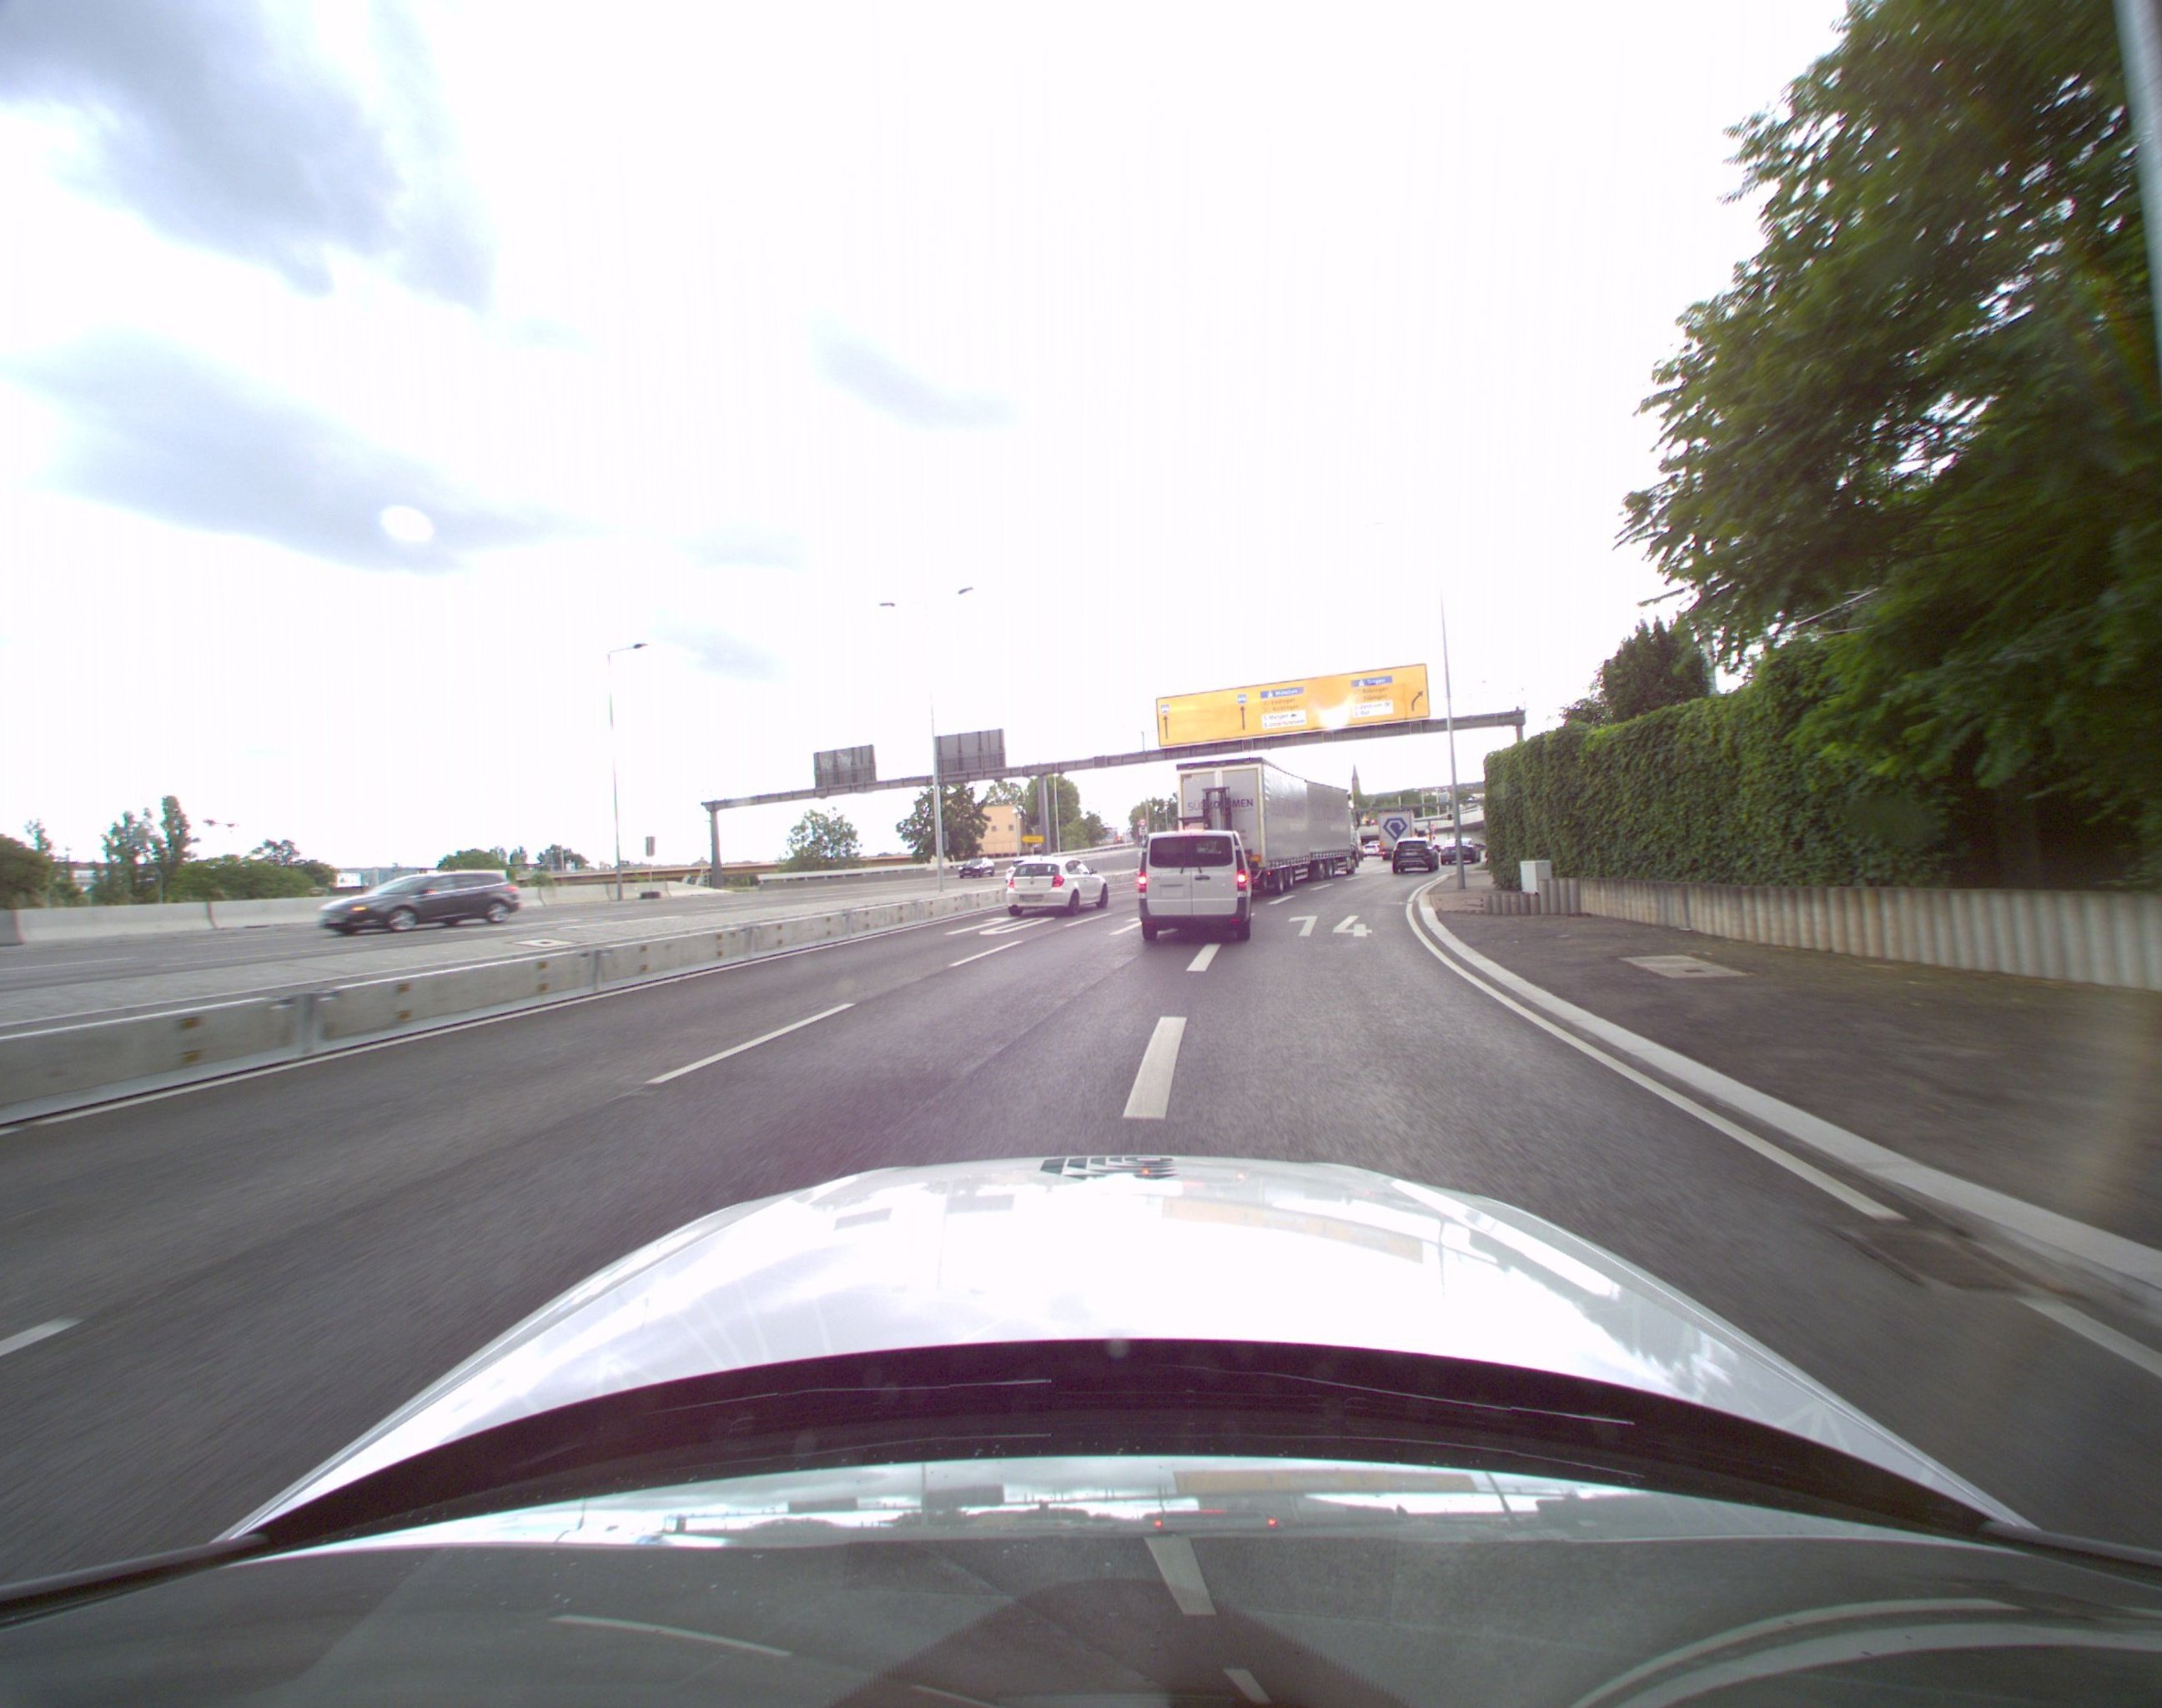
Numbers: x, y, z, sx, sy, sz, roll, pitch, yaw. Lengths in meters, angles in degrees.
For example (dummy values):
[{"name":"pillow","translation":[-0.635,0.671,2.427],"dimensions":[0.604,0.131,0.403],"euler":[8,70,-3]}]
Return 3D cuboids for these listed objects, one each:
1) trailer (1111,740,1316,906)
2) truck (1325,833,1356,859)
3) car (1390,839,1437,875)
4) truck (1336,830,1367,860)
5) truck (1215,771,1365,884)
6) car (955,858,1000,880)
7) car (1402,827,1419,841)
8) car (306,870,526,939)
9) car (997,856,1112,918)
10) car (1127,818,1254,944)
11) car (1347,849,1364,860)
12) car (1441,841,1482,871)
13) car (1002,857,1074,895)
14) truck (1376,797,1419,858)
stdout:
[{"name":"trailer","translation":[4.809,-0.795,26.229],"dimensions":[3.691,4.141,11.045],"euler":[-2,0,24]},{"name":"truck","translation":[20.253,-0.607,63.508],"dimensions":[1.976,2.031,3.854],"euler":[0,0,23]},{"name":"car","translation":[15.288,0.181,37.457],"dimensions":[1.876,1.520,4.021],"euler":[-2,-1,22]},{"name":"truck","translation":[23.089,-0.709,69.425],"dimensions":[1.975,2.475,4.024],"euler":[0,0,27]},{"name":"truck","translation":[9.605,-1.024,36.043],"dimensions":[3.689,4.141,11.051],"euler":[-2,0,29]},{"name":"car","translation":[-8.224,1.158,64.892],"dimensions":[1.978,1.585,4.155],"euler":[1,0,17]},{"name":"car","translation":[43.904,-2.653,108.459],"dimensions":[1.975,1.783,4.023],"euler":[0,0,24]},{"name":"car","translation":[-17.375,1.243,21.617],"dimensions":[1.807,1.536,4.411],"euler":[-2,0,8]},{"name":"car","translation":[-0.584,0.774,21.327],"dimensions":[1.730,1.432,4.019],"euler":[0,0,18]},{"name":"car","translation":[2.282,0.449,15.773],"dimensions":[1.980,1.990,5.216],"euler":[-2,0,11]},{"name":"car","translation":[41.489,0.060,122.834],"dimensions":[1.975,1.684,4.023],"euler":[-2,-1,24]},{"name":"car","translation":[21.907,0.095,46.987],"dimensions":[1.876,1.626,4.022],"euler":[-2,-1,22]},{"name":"car","translation":[-1.688,0.846,33.170],"dimensions":[1.730,1.432,3.792],"euler":[0,0,17]},{"name":"truck","translation":[27.074,-2.121,69.483],"dimensions":[3.036,4.803,9.209],"euler":[0,0,24]}]
